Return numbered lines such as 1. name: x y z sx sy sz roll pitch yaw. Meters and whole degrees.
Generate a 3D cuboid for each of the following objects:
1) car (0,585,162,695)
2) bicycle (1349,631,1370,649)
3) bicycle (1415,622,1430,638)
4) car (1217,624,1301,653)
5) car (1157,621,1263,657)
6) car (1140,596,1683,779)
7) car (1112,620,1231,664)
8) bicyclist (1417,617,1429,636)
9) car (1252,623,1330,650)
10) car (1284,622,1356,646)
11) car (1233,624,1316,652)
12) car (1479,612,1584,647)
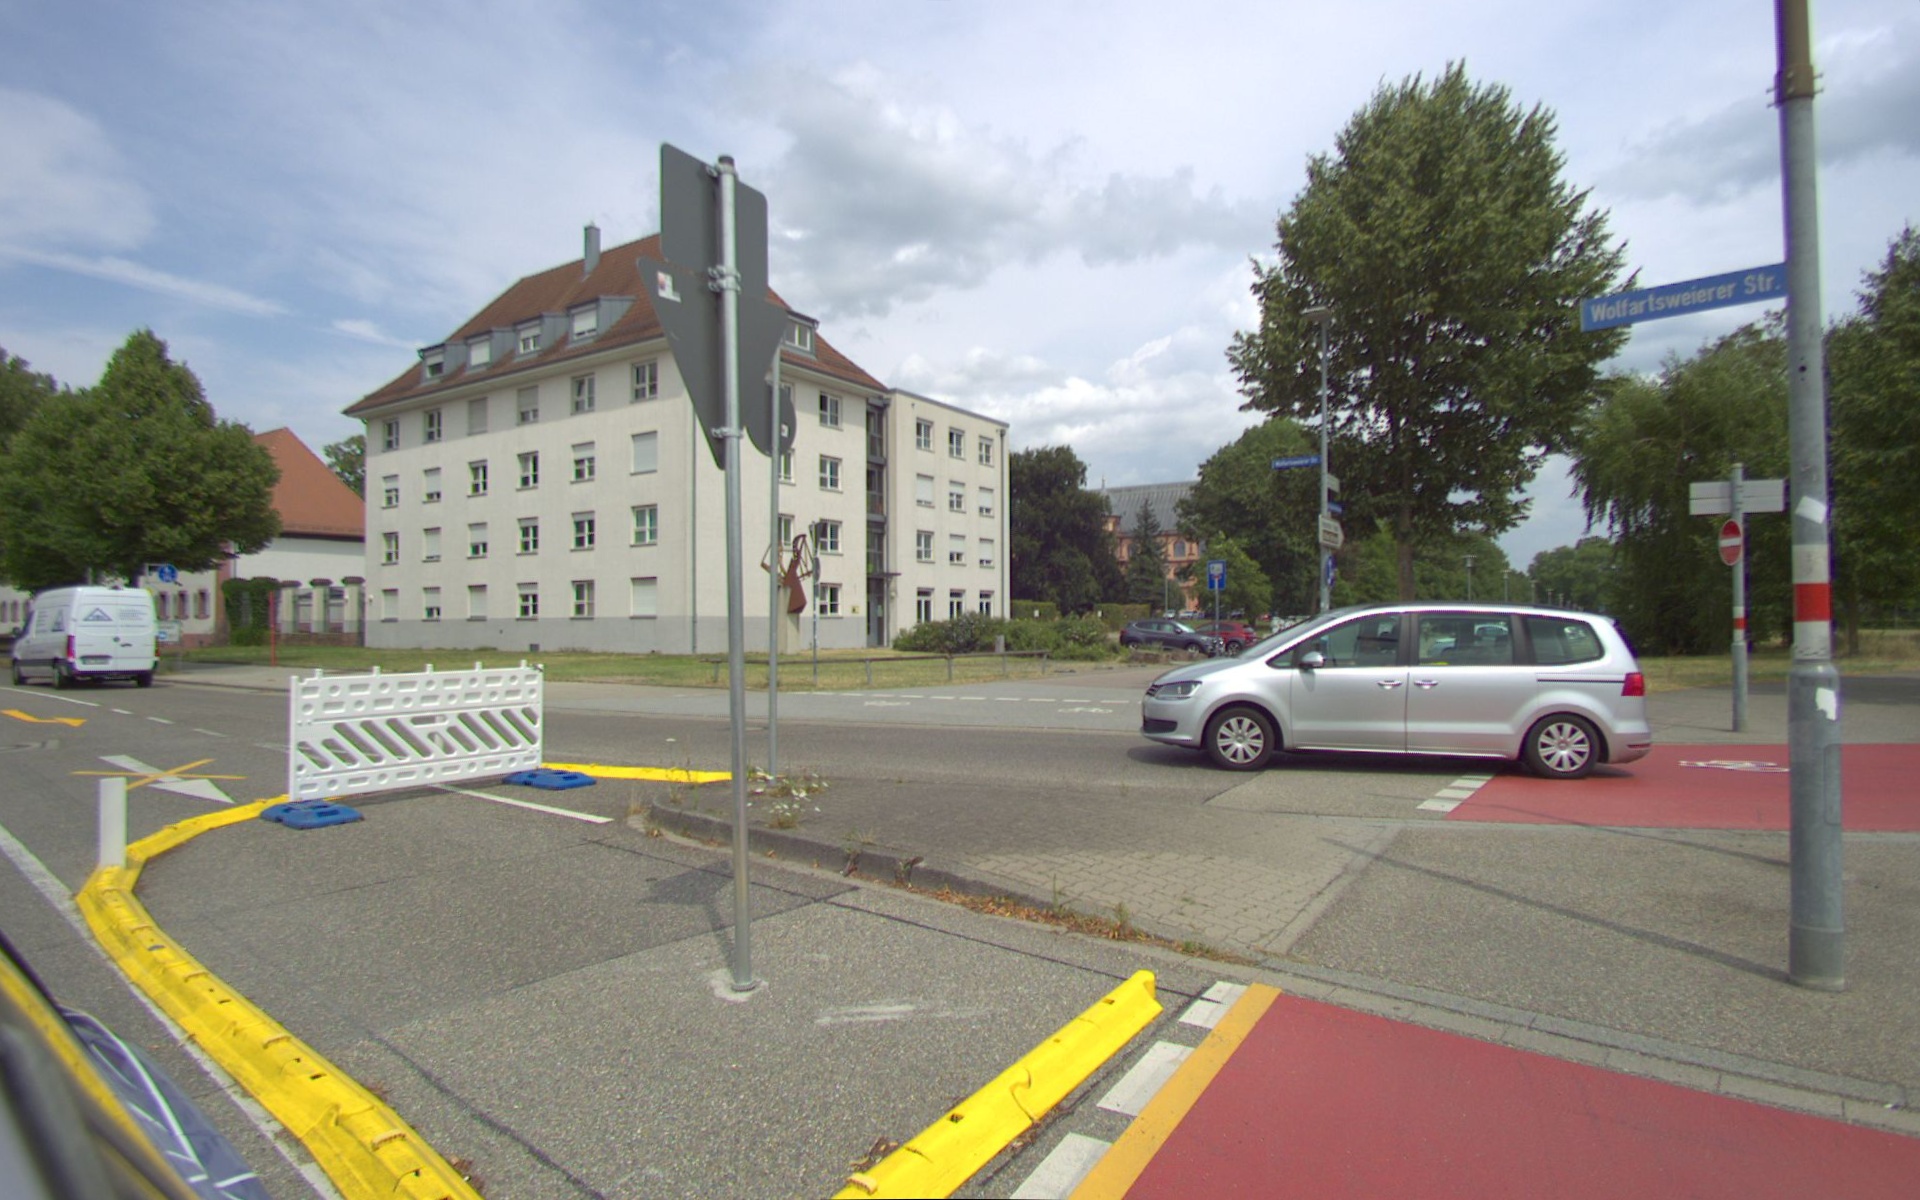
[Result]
1. car: -24.141 1.056 27.690 5.957 2.706 2.046 -1 -2 36
2. bicycle: 23.328 2.330 59.099 0.601 1.054 1.804 -2 -2 40
3. bicycle: 34.368 2.209 75.215 0.776 1.185 2.207 -1 -2 29
4. car: 15.899 2.030 53.817 3.995 1.479 1.597 -1 -1 33
5. car: 11.662 1.810 47.229 4.396 1.610 1.976 -1 -1 35
6. car: 4.253 0.836 10.327 4.694 1.635 1.796 -1 -2 10
7. car: 8.881 1.733 42.549 4.486 1.778 1.978 -1 -1 33
8. bicyclist: 34.484 1.951 75.398 0.776 1.415 0.722 -1 -2 30
9. car: 19.196 2.098 58.765 3.995 1.479 1.797 -1 -1 33
10. car: 22.767 2.162 64.045 3.995 1.479 1.797 -1 -1 33
11. car: 17.225 2.056 55.468 3.995 1.479 1.797 -2 -2 33
12. car: 35.387 1.826 62.708 5.551 2.071 2.177 -1 -1 32
